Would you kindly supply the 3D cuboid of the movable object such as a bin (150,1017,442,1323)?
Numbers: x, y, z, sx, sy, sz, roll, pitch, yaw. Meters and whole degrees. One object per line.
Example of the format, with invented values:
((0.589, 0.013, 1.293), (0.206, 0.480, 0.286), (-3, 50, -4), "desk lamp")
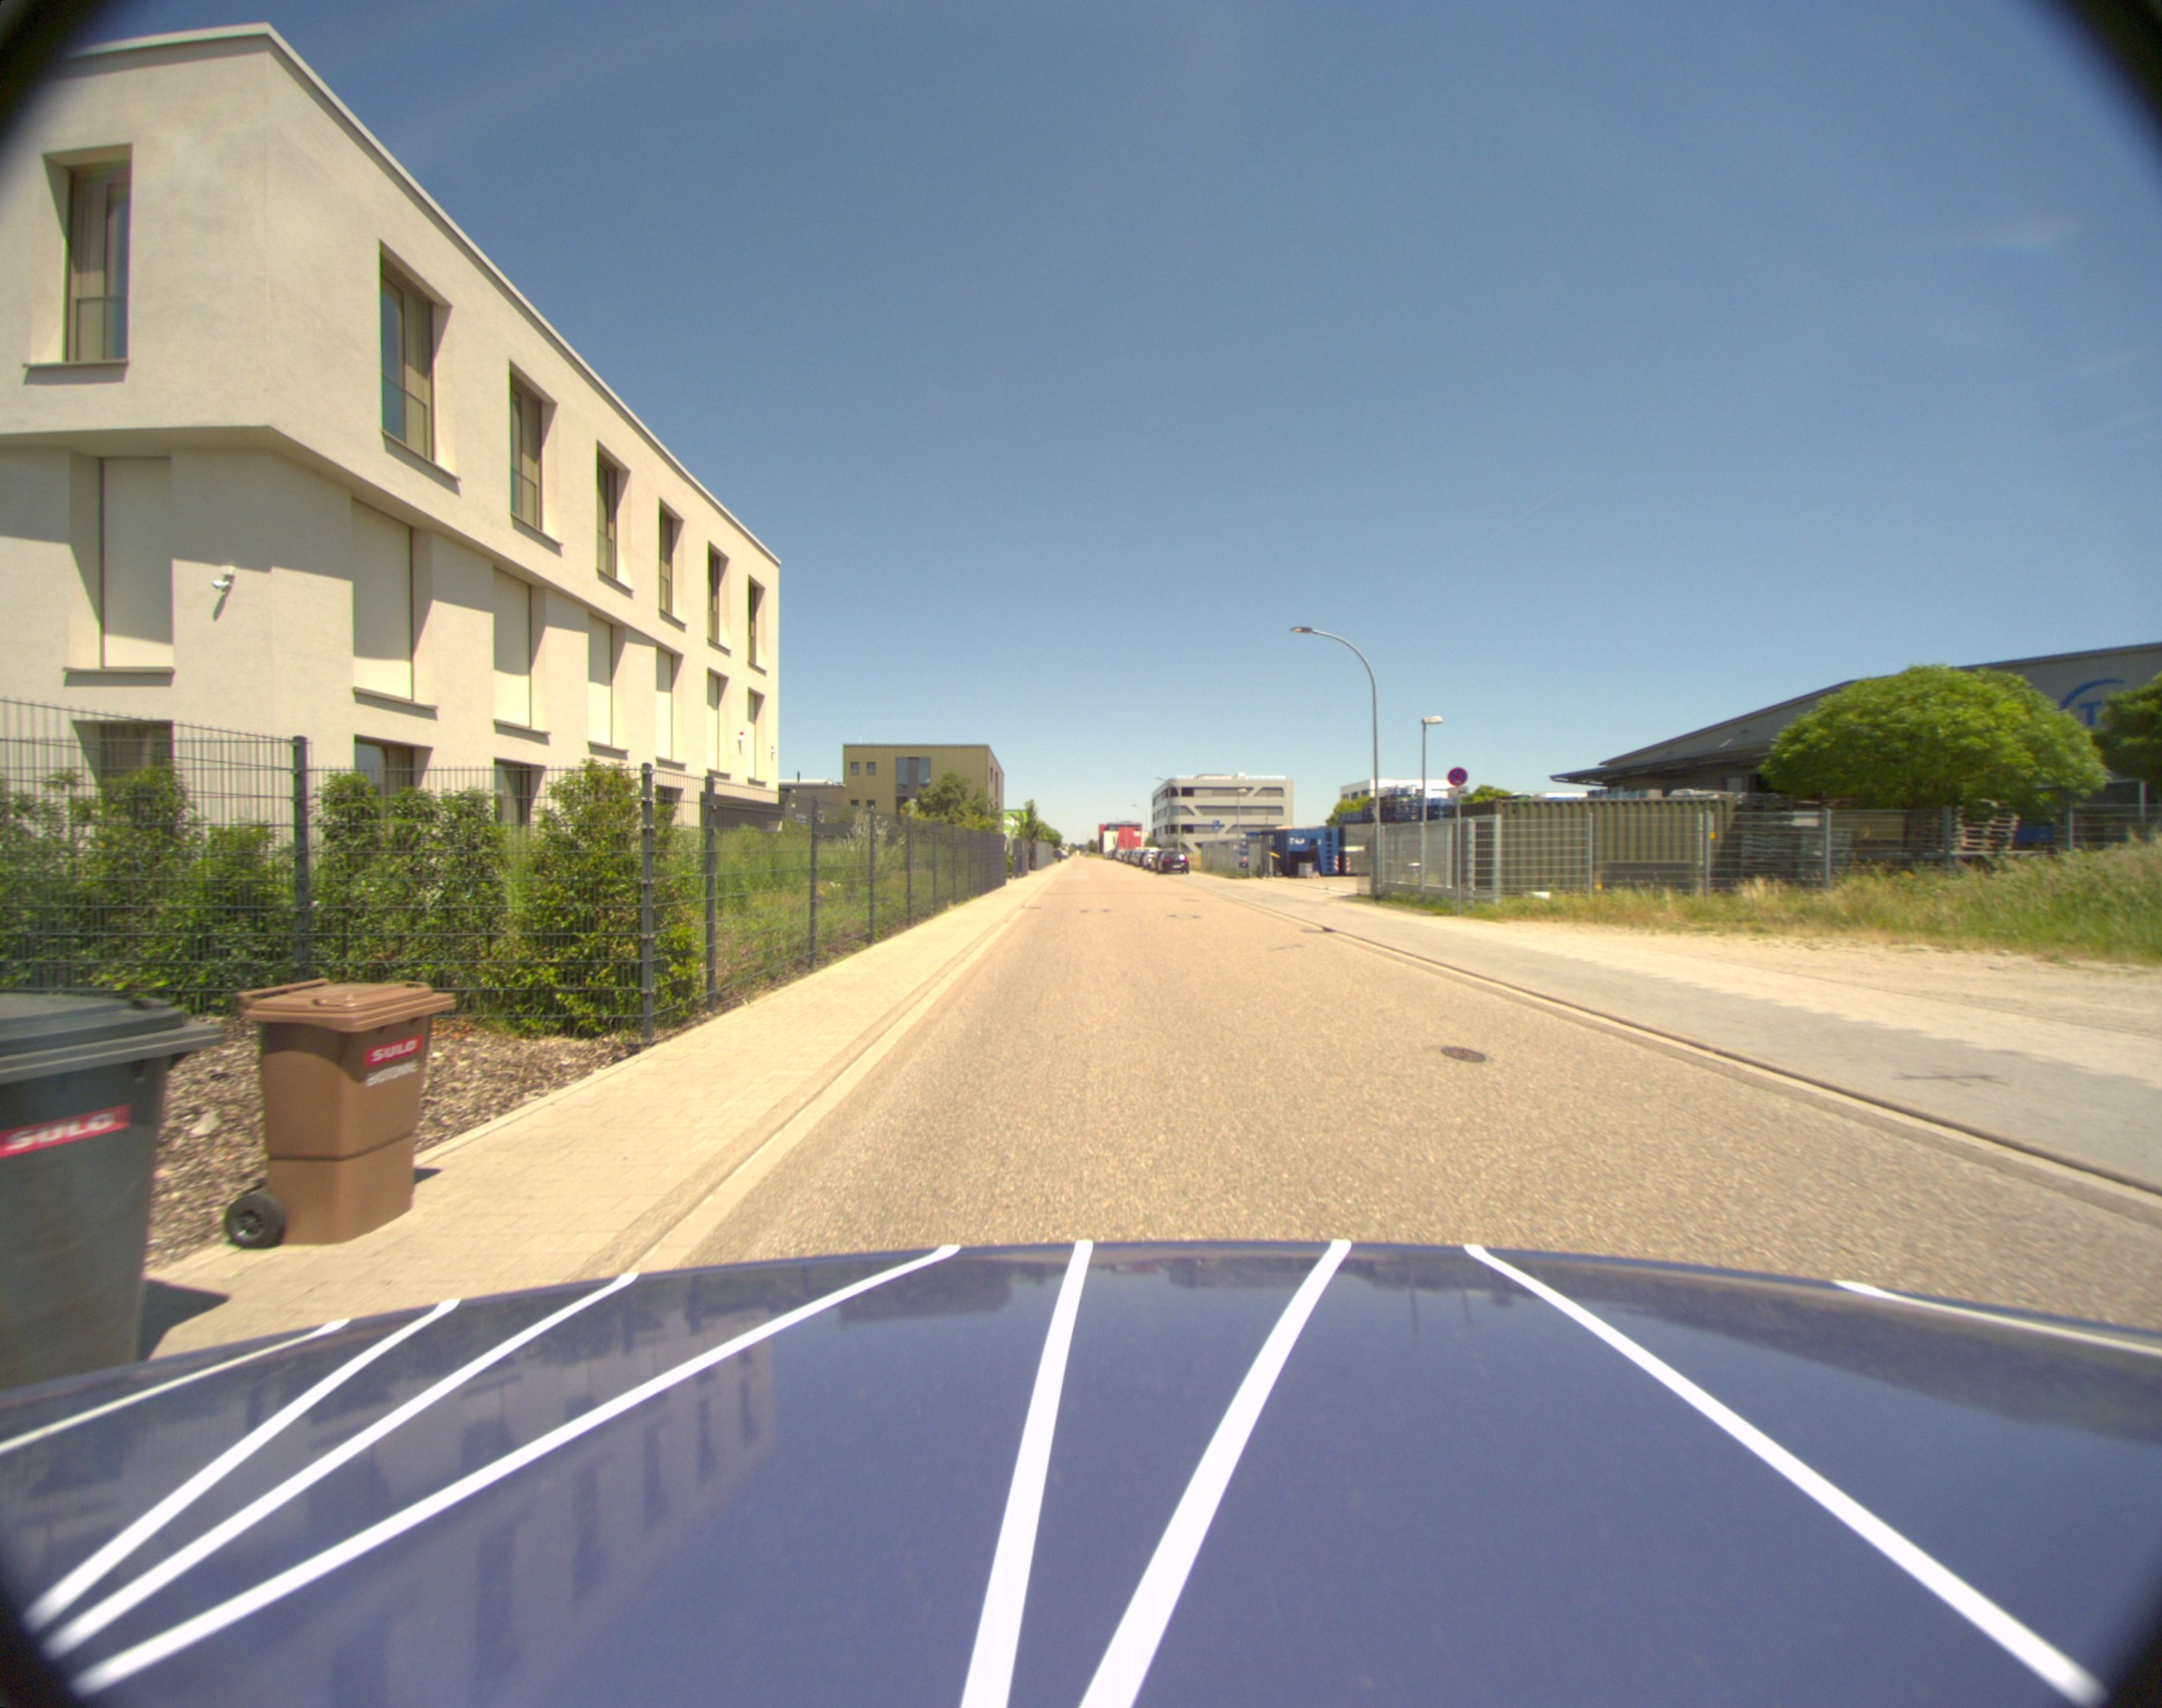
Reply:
((-2.914, 1.140, 2.873), (0.525, 0.920, 0.555), (1, 1, 1), "movable object such as a bin")

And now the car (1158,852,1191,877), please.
((6.024, 0.623, 49.225), (1.695, 1.481, 3.660), (-2, 1, 1), "car")

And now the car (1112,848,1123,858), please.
((6.333, -0.159, 131.357), (1.772, 1.521, 3.777), (-2, 1, 1), "car")

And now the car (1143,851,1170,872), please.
((6.013, 0.564, 60.485), (1.772, 1.521, 3.777), (-2, 1, 1), "car")

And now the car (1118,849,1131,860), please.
((6.338, 0.030, 111.301), (1.772, 1.521, 3.777), (-2, 1, 1), "car")

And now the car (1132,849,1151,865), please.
((6.344, 0.267, 80.051), (1.660, 1.573, 3.777), (-2, 1, 1), "car")

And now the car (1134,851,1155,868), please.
((6.294, 0.553, 75.415), (1.772, 1.521, 3.777), (-2, 1, 1), "car")

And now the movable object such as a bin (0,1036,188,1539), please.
((-2.880, 1.069, 1.821), (0.749, 1.042, 0.699), (1, 1, 15), "movable object such as a bin")

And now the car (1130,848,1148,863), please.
((6.425, 0.181, 84.817), (1.772, 1.521, 3.777), (-2, 1, 1), "car")

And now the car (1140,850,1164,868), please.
((6.430, 0.446, 68.925), (1.772, 1.462, 3.777), (-3, 1, 1), "car")

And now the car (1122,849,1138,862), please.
((6.370, 0.147, 98.803), (1.772, 1.521, 3.777), (-2, 1, 1), "car")

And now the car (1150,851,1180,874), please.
((6.048, 0.571, 55.169), (1.772, 1.521, 3.777), (-2, 1, 1), "car")

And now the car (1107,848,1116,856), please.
((6.421, -0.422, 158.793), (1.772, 1.521, 3.777), (-2, 1, 1), "car")
